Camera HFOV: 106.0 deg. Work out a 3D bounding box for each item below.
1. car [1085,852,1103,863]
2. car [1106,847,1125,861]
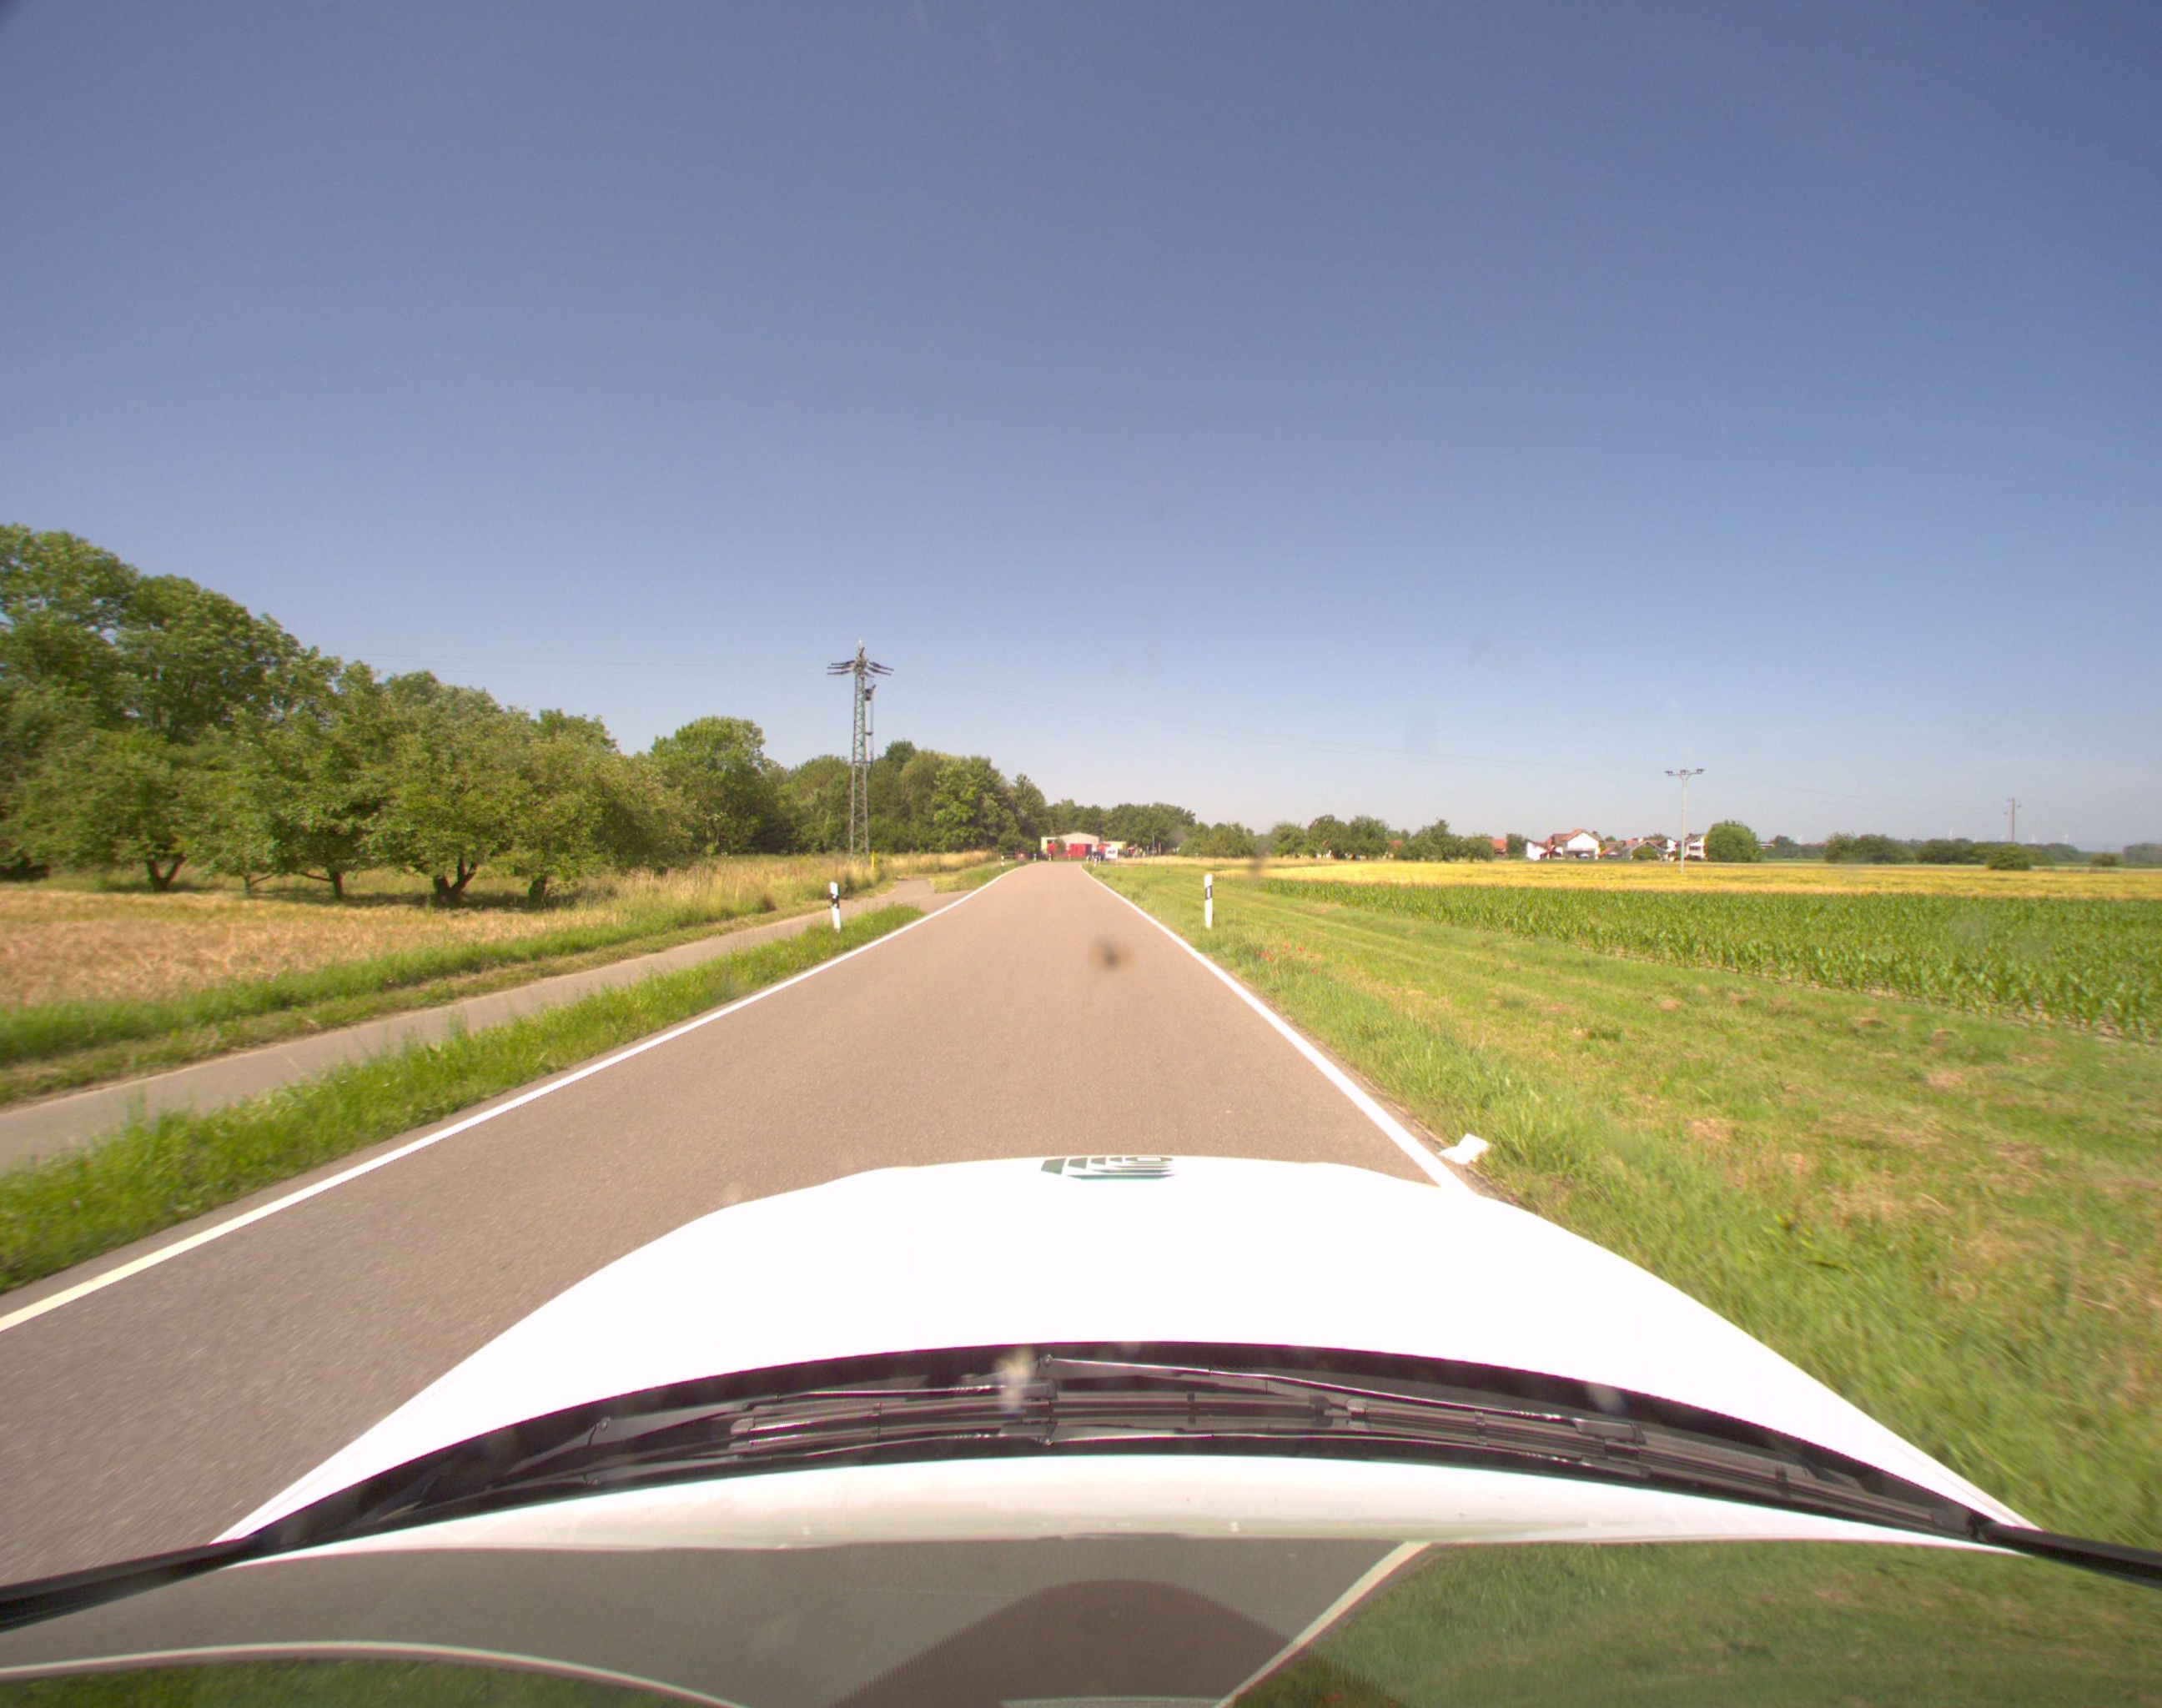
[{"bbox_3d":[2.123,0.525,135.311,1.851,1.753,4.316,0,0,17],"label":"car"},{"bbox_3d":[5.650,-0.073,134.219,1.978,2.266,4.746,0,0,16],"label":"car"}]
